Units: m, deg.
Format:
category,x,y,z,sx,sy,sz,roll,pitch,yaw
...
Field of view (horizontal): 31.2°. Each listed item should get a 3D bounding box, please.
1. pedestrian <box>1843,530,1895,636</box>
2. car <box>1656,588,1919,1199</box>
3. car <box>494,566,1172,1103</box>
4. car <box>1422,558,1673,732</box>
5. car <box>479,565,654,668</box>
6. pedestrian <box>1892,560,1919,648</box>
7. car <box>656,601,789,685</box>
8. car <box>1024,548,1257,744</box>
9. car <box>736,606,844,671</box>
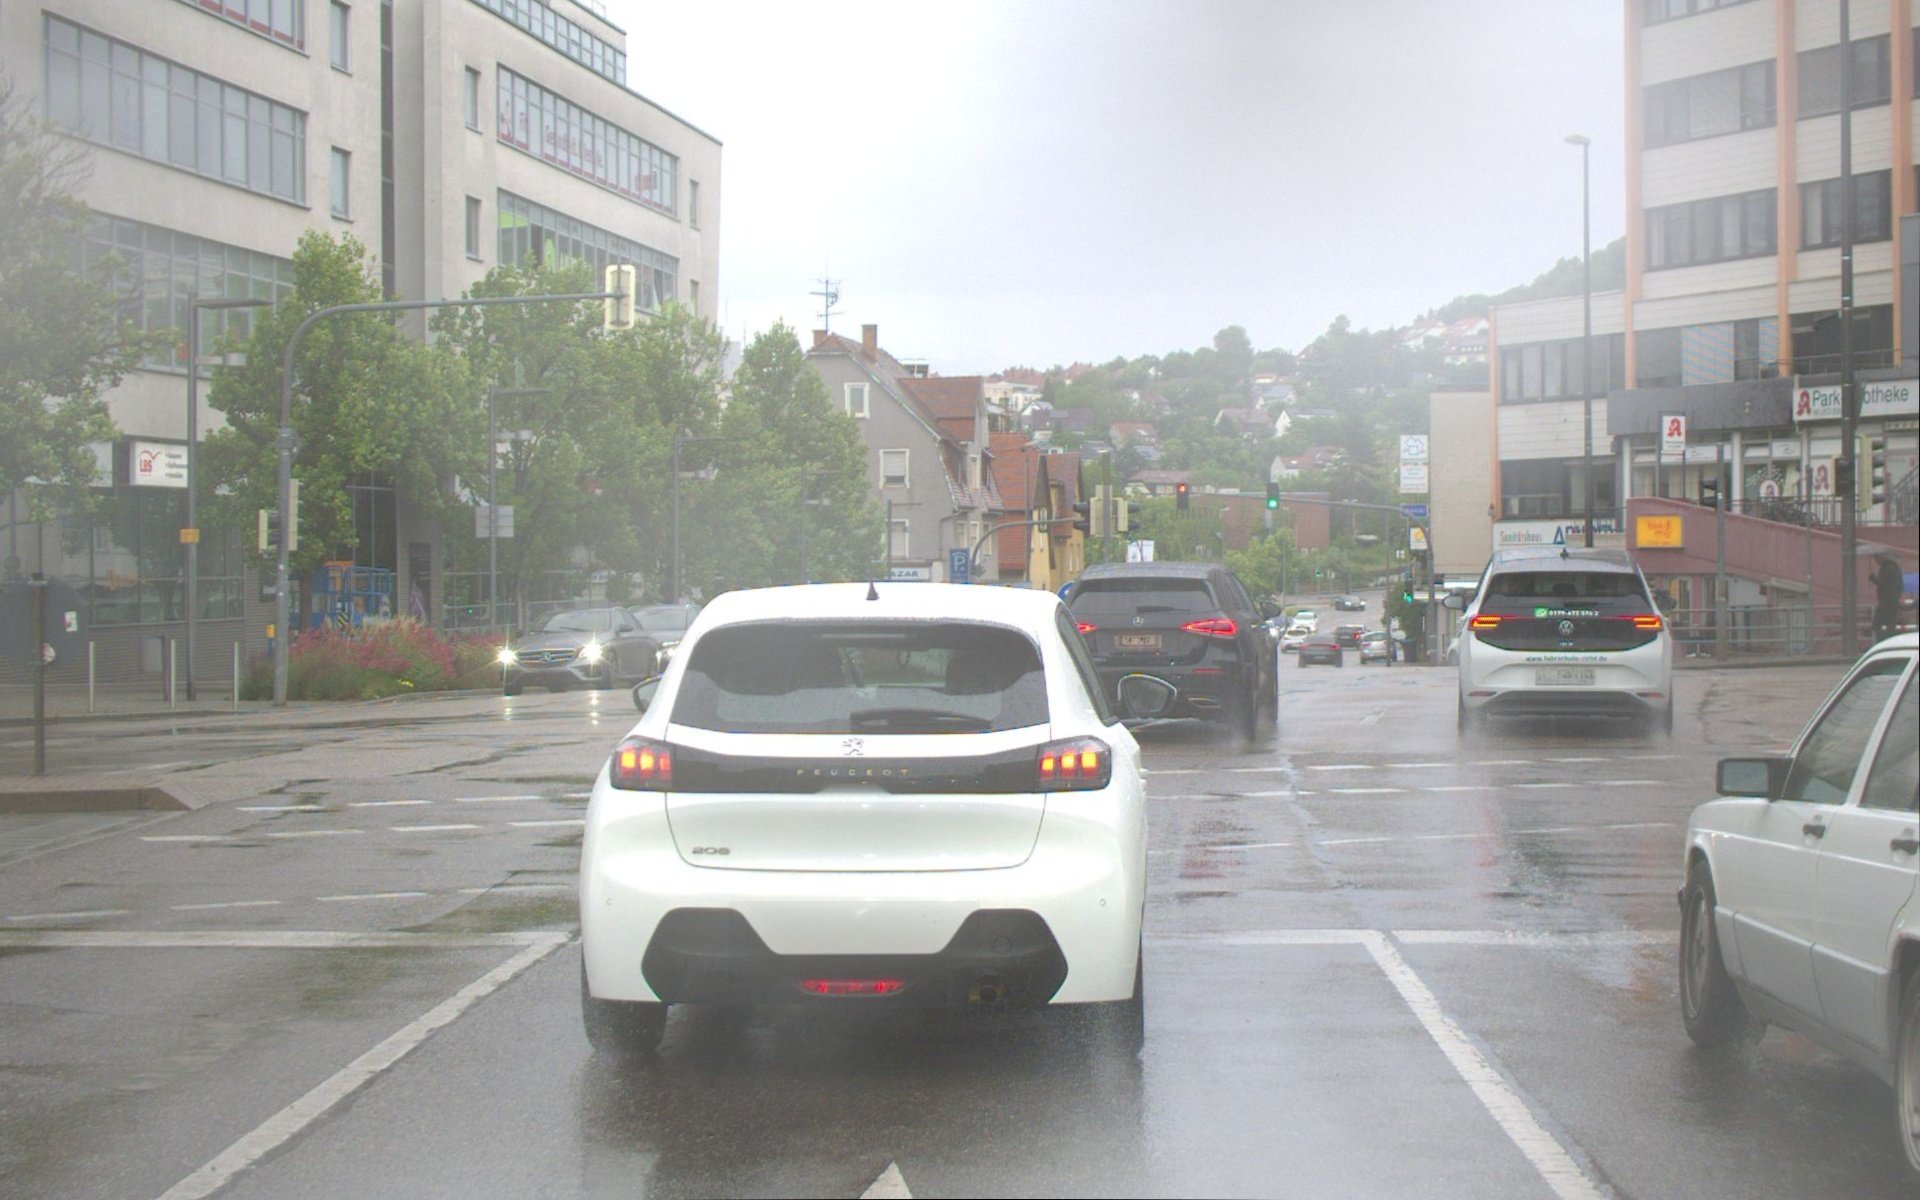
category,x,y,z,sx,sy,sz,roll,pitch,yaw
pedestrian,13.847,-0.262,52.393,0.708,1.602,0.655,1,0,12
car,3.049,0.714,8.989,1.634,1.443,4.268,1,0,1
car,-0.256,0.629,11.475,1.872,1.457,3.873,1,1,3
car,4.967,0.353,29.464,1.912,1.395,3.457,0,0,6
car,-6.592,0.245,58.127,1.920,1.626,4.902,1,1,6
pedestrian,14.801,0.057,53.083,0.708,1.341,0.655,-1,0,11
car,-4.967,0.885,72.521,1.774,1.588,4.586,-4,-1,8
car,1.530,0.352,28.910,1.815,1.524,3.812,-1,0,4
car,-3.875,0.873,78.924,1.726,1.383,4.599,-2,-1,6
